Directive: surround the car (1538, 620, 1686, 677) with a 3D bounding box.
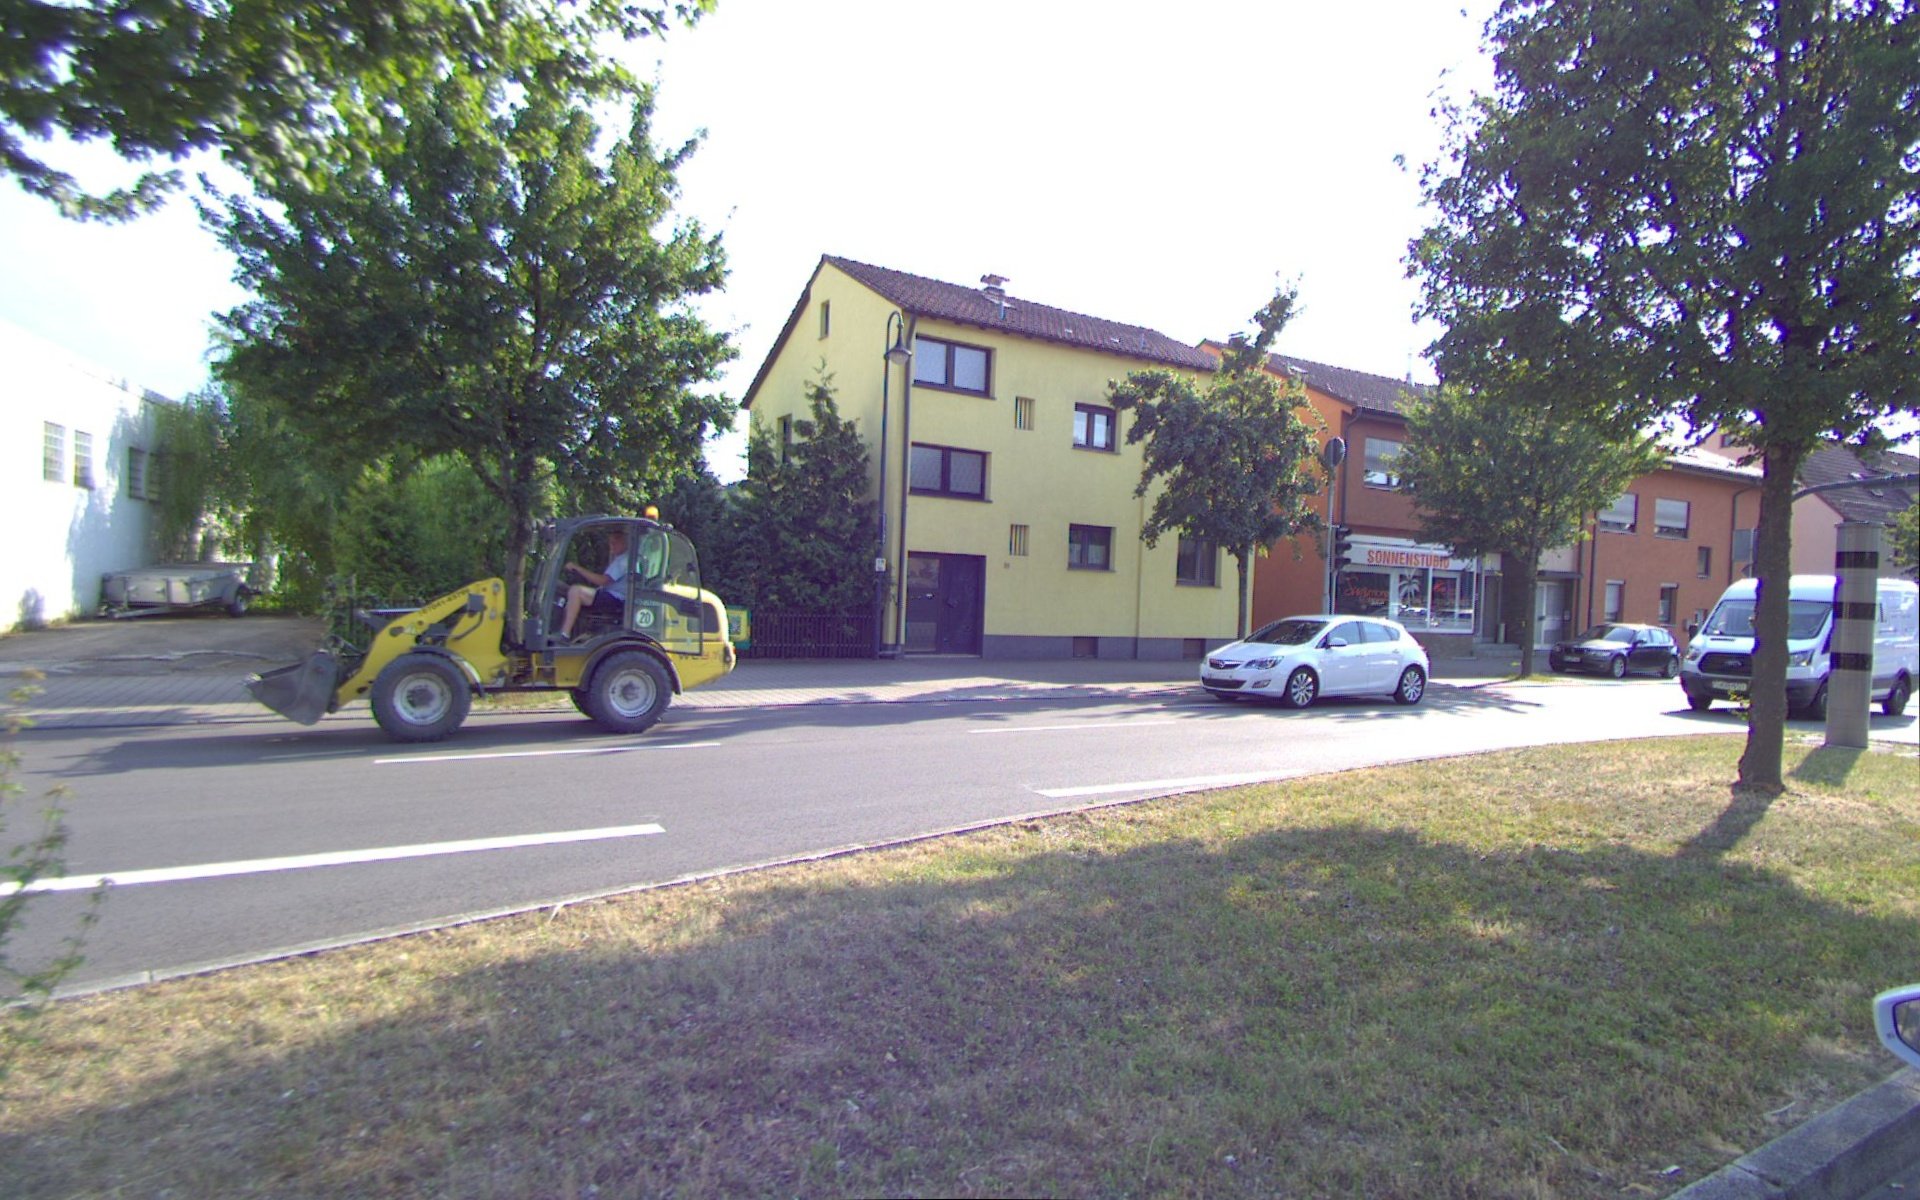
[{"bbox_3d":[18.027,1.318,27.767,3.893,1.433,1.788,2,0,-29],"label":"car"}]

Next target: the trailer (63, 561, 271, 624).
[{"bbox_3d":[-16.189,-0.179,20.747,2.131,1.127,3.358,2,1,-14],"label":"trailer"}]

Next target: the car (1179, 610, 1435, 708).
[{"bbox_3d":[5.841,0.935,16.811,4.162,1.433,1.684,2,0,-29],"label":"car"}]

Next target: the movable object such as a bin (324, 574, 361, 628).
[{"bbox_3d":[-12.776,0.023,20.794,0.582,1.083,0.538,1,0,-28],"label":"movable object such as a bin"}]

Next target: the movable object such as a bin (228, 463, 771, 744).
[{"bbox_3d":[-4.653,0.086,10.752,4.916,2.494,1.546,2,0,-28],"label":"movable object such as a bin"}]

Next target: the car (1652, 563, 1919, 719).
[{"bbox_3d":[15.181,0.707,18.321,5.414,2.508,2.075,1,0,-30],"label":"car"}]

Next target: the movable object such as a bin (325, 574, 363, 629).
[{"bbox_3d":[-12.317,0.034,20.085,0.582,1.083,0.538,1,0,-28],"label":"movable object such as a bin"}]
